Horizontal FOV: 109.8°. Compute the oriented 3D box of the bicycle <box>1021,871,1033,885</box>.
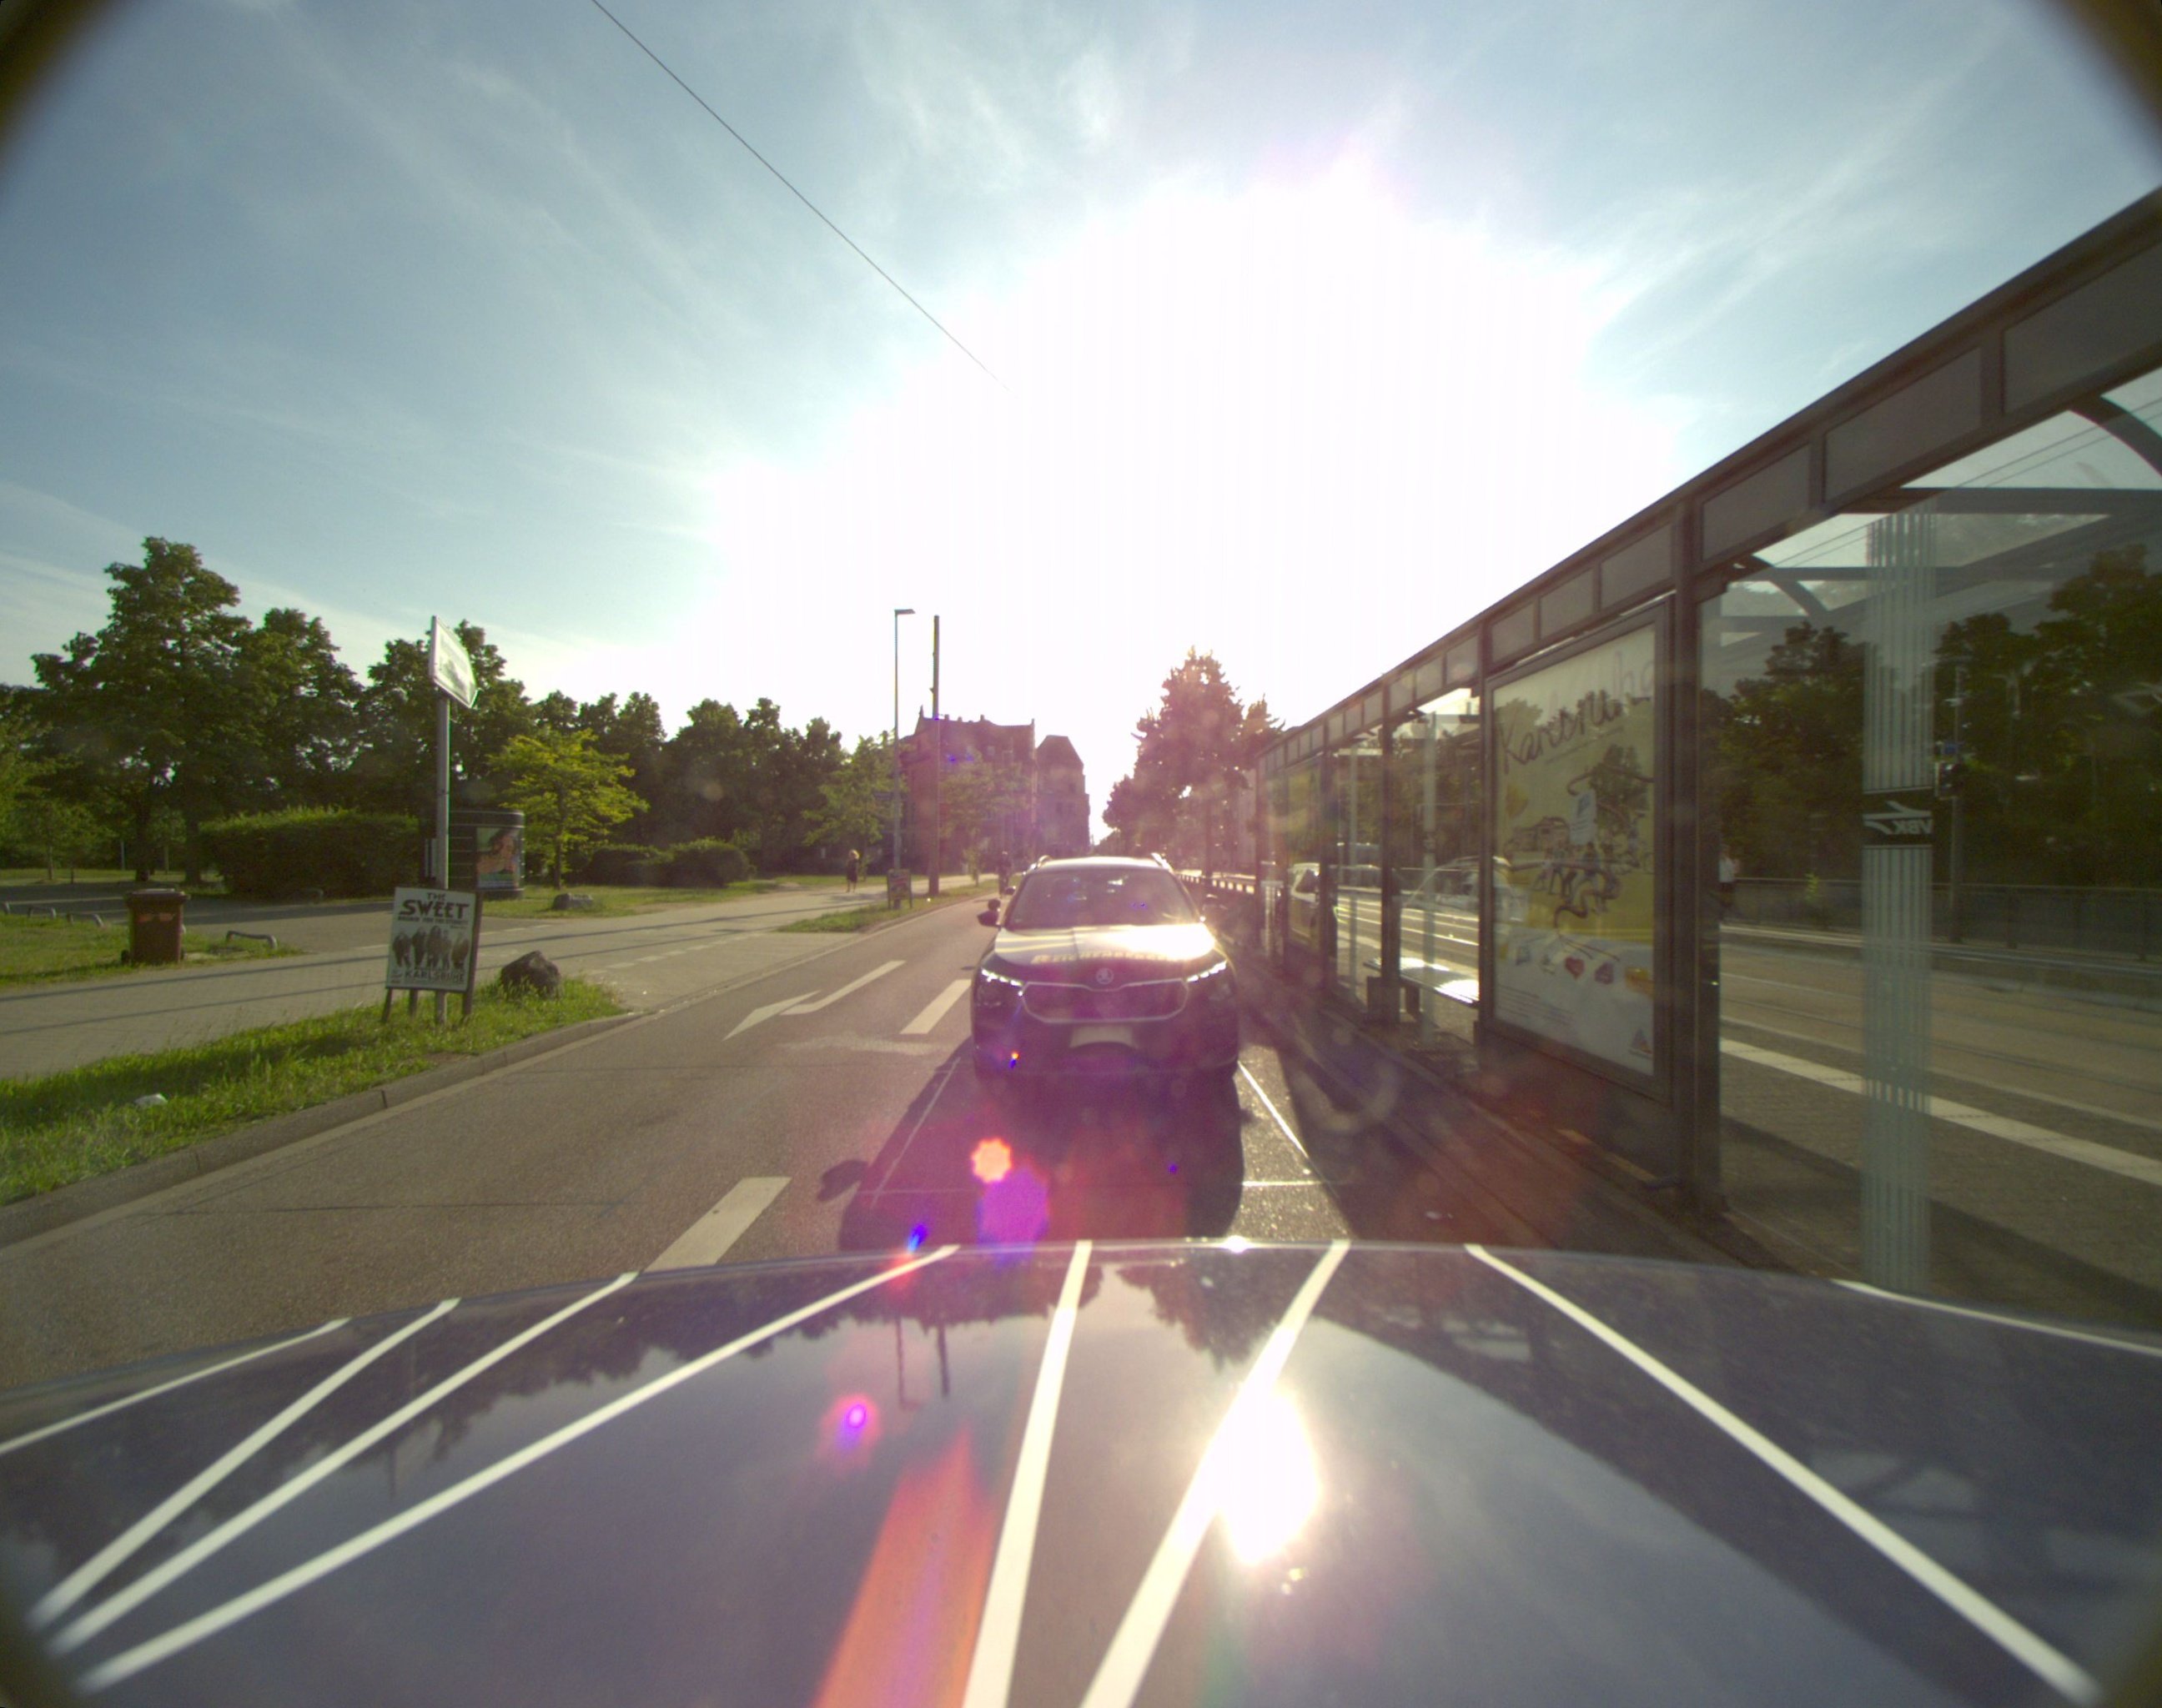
[{"bbox_3d":[-3.313,1.464,46.694,0.567,0.789,2.041,0,0,0],"label":"bicycle"}]

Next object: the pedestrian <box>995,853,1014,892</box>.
[{"bbox_3d":[-3.111,0.738,30.845,0.637,1.512,0.845,-2,1,0],"label":"pedestrian"}]

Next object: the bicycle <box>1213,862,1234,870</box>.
[{"bbox_3d":[17.568,1.491,93.754,2.536,0.876,0.631,0,0,5],"label":"bicycle"}]

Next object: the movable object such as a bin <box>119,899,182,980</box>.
[{"bbox_3d":[-11.394,1.032,9.318,0.603,0.912,0.457,1,1,42],"label":"movable object such as a bin"}]

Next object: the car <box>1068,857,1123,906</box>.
[{"bbox_3d":[0.505,0.903,26.917,1.756,1.534,4.235,-1,0,1],"label":"car"}]

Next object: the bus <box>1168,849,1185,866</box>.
[{"bbox_3d":[19.622,0.677,156.643,2.437,3.415,9.261,-2,1,1],"label":"bus"}]

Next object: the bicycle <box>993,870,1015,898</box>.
[{"bbox_3d":[-3.104,1.202,30.811,0.651,1.040,1.980,-2,1,1],"label":"bicycle"}]

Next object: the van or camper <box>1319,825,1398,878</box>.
[{"bbox_3d":[16.916,-0.181,46.749,2.527,2.951,6.411,-2,1,1],"label":"van or camper"}]

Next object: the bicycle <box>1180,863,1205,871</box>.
[{"bbox_3d":[14.007,1.586,95.618,2.962,0.974,0.879,0,0,-2],"label":"bicycle"}]

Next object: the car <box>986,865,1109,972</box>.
[{"bbox_3d":[-0.449,0.976,13.154,1.756,1.451,4.235,-1,0,1],"label":"car"}]

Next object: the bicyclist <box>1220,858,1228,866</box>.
[{"bbox_3d":[17.600,0.988,93.723,0.897,0.908,0.616,0,0,4],"label":"bicyclist"}]

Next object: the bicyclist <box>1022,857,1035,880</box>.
[{"bbox_3d":[-3.216,0.885,46.676,0.689,1.445,1.111,0,0,0],"label":"bicyclist"}]

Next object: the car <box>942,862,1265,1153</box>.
[{"bbox_3d":[0.160,0.880,6.343,1.756,1.534,4.235,-1,0,1],"label":"car"}]

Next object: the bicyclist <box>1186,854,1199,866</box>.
[{"bbox_3d":[14.043,0.774,95.616,1.402,1.538,0.888,0,0,-1],"label":"bicyclist"}]

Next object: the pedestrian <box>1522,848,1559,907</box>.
[{"bbox_3d":[13.595,0.690,22.494,0.621,1.675,0.618,3,1,1],"label":"pedestrian"}]

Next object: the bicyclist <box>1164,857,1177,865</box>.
[{"bbox_3d":[10.745,0.863,91.023,1.402,1.000,0.888,0,0,-1],"label":"bicyclist"}]

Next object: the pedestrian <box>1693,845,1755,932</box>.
[{"bbox_3d":[12.941,0.684,15.303,0.621,1.675,0.618,3,1,1],"label":"pedestrian"}]

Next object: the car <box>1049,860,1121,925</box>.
[{"bbox_3d":[0.134,0.975,20.942,1.756,1.534,4.235,-1,0,1],"label":"car"}]

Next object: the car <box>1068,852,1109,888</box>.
[{"bbox_3d":[0.359,0.680,35.136,1.756,1.534,4.235,-1,0,1],"label":"car"}]

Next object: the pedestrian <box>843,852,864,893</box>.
[{"bbox_3d":[-9.389,0.764,31.392,0.621,1.675,0.618,-2,1,1],"label":"pedestrian"}]

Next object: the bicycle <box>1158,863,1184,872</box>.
[{"bbox_3d":[10.744,1.634,91.001,2.962,0.974,0.879,0,0,-2],"label":"bicycle"}]

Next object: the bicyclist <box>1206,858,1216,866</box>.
[{"bbox_3d":[15.861,0.976,92.681,1.217,1.018,0.671,0,0,4],"label":"bicyclist"}]

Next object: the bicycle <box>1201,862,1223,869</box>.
[{"bbox_3d":[15.958,1.431,92.680,2.536,0.876,0.631,0,0,5],"label":"bicycle"}]
